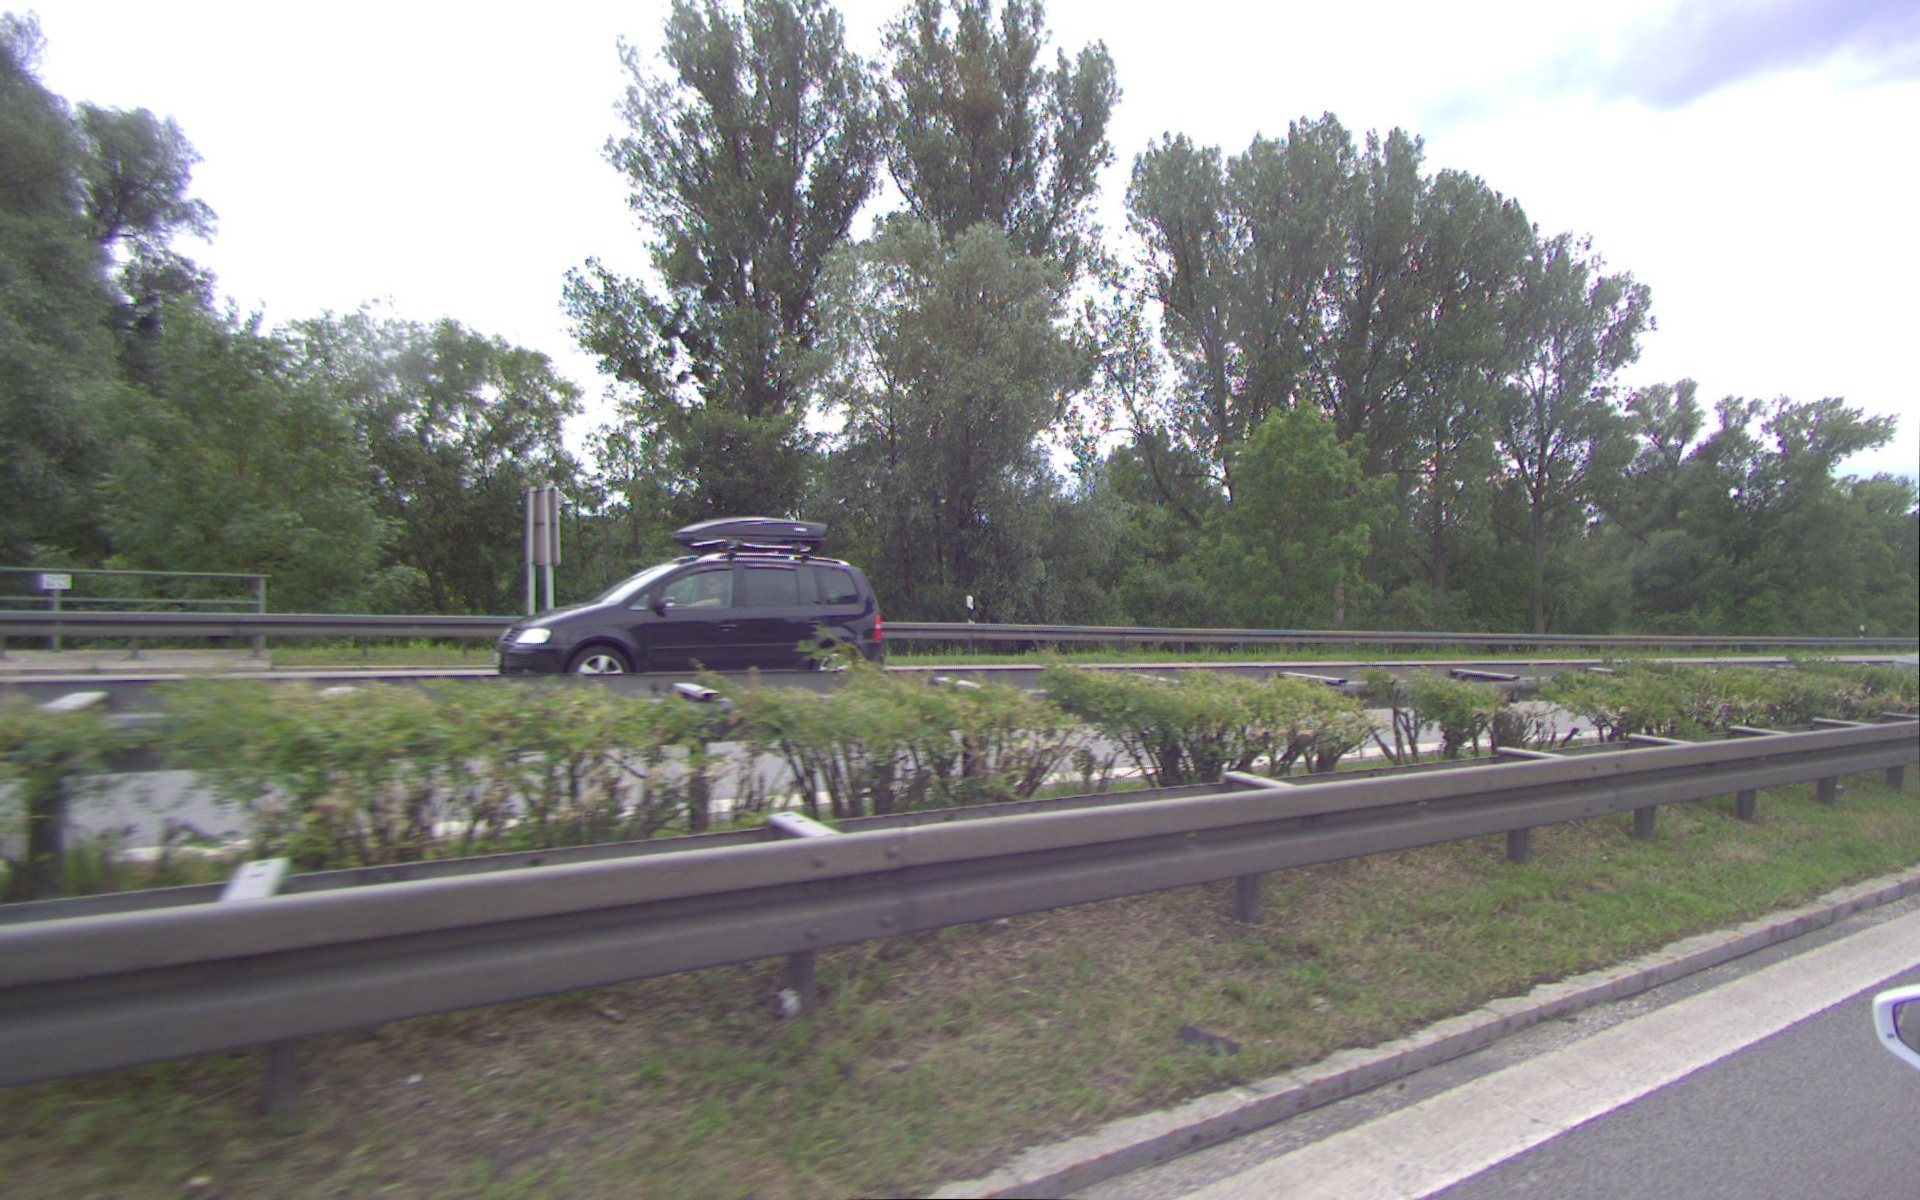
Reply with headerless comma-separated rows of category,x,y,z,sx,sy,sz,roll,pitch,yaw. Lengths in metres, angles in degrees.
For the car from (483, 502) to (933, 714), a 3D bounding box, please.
car,-2.852,0.106,11.734,4.693,2.029,1.982,2,1,-33
